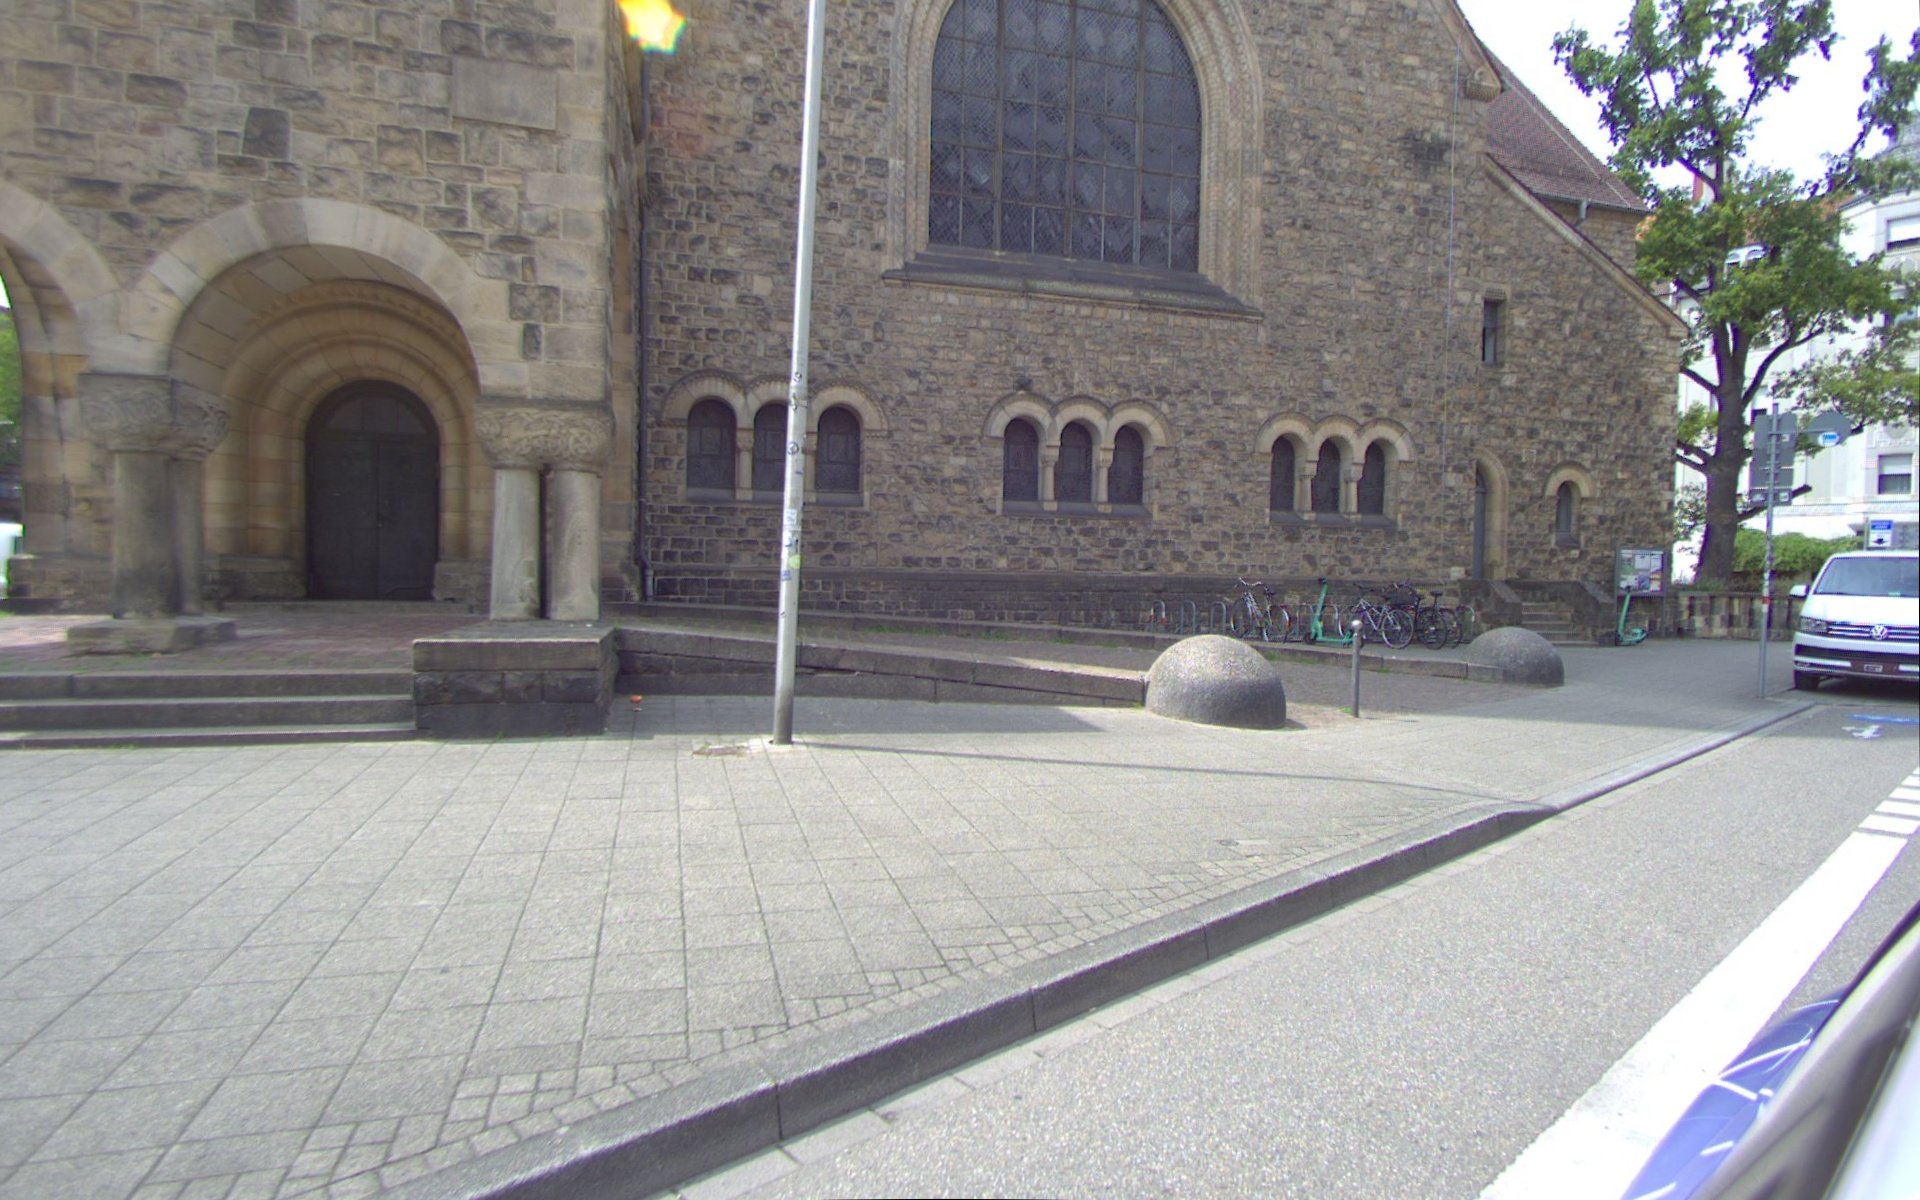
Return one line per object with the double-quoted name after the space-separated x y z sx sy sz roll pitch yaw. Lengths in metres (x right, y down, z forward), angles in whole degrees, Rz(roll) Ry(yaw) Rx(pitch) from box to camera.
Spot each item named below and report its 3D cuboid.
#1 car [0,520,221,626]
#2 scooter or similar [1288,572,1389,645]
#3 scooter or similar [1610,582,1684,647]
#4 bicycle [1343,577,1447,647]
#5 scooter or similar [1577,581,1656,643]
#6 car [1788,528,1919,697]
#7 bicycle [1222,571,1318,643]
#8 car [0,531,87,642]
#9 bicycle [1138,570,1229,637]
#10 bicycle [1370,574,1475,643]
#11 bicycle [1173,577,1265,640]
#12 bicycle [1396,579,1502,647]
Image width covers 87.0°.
-15.833 -0.473 17.667 4.328 1.747 1.956 1 2 -15 "car"
6.467 0.116 17.398 0.534 1.154 1.787 1 2 -21 "scooter or similar"
13.445 0.286 19.801 1.413 1.222 0.547 1 2 -27 "scooter or similar"
7.589 0.186 17.744 0.534 1.125 1.787 1 2 -21 "bicycle"
13.275 0.241 20.464 1.450 1.222 0.547 1 1 -20 "scooter or similar"
13.462 0.103 14.212 5.035 2.054 2.018 -1 4 -42 "car"
5.221 0.093 17.161 0.534 1.125 1.787 1 2 -21 "bicycle"
-15.585 -0.236 14.669 3.942 1.562 2.024 1 2 -15 "car"
3.674 0.035 16.760 0.534 0.968 1.787 1 4 -21 "bicycle"
8.161 0.128 17.941 0.534 1.125 1.779 1 2 -21 "bicycle"
4.307 0.121 16.951 0.534 0.969 1.787 1 2 -21 "bicycle"
8.748 0.203 18.186 0.534 1.125 1.787 1 2 -21 "bicycle"
